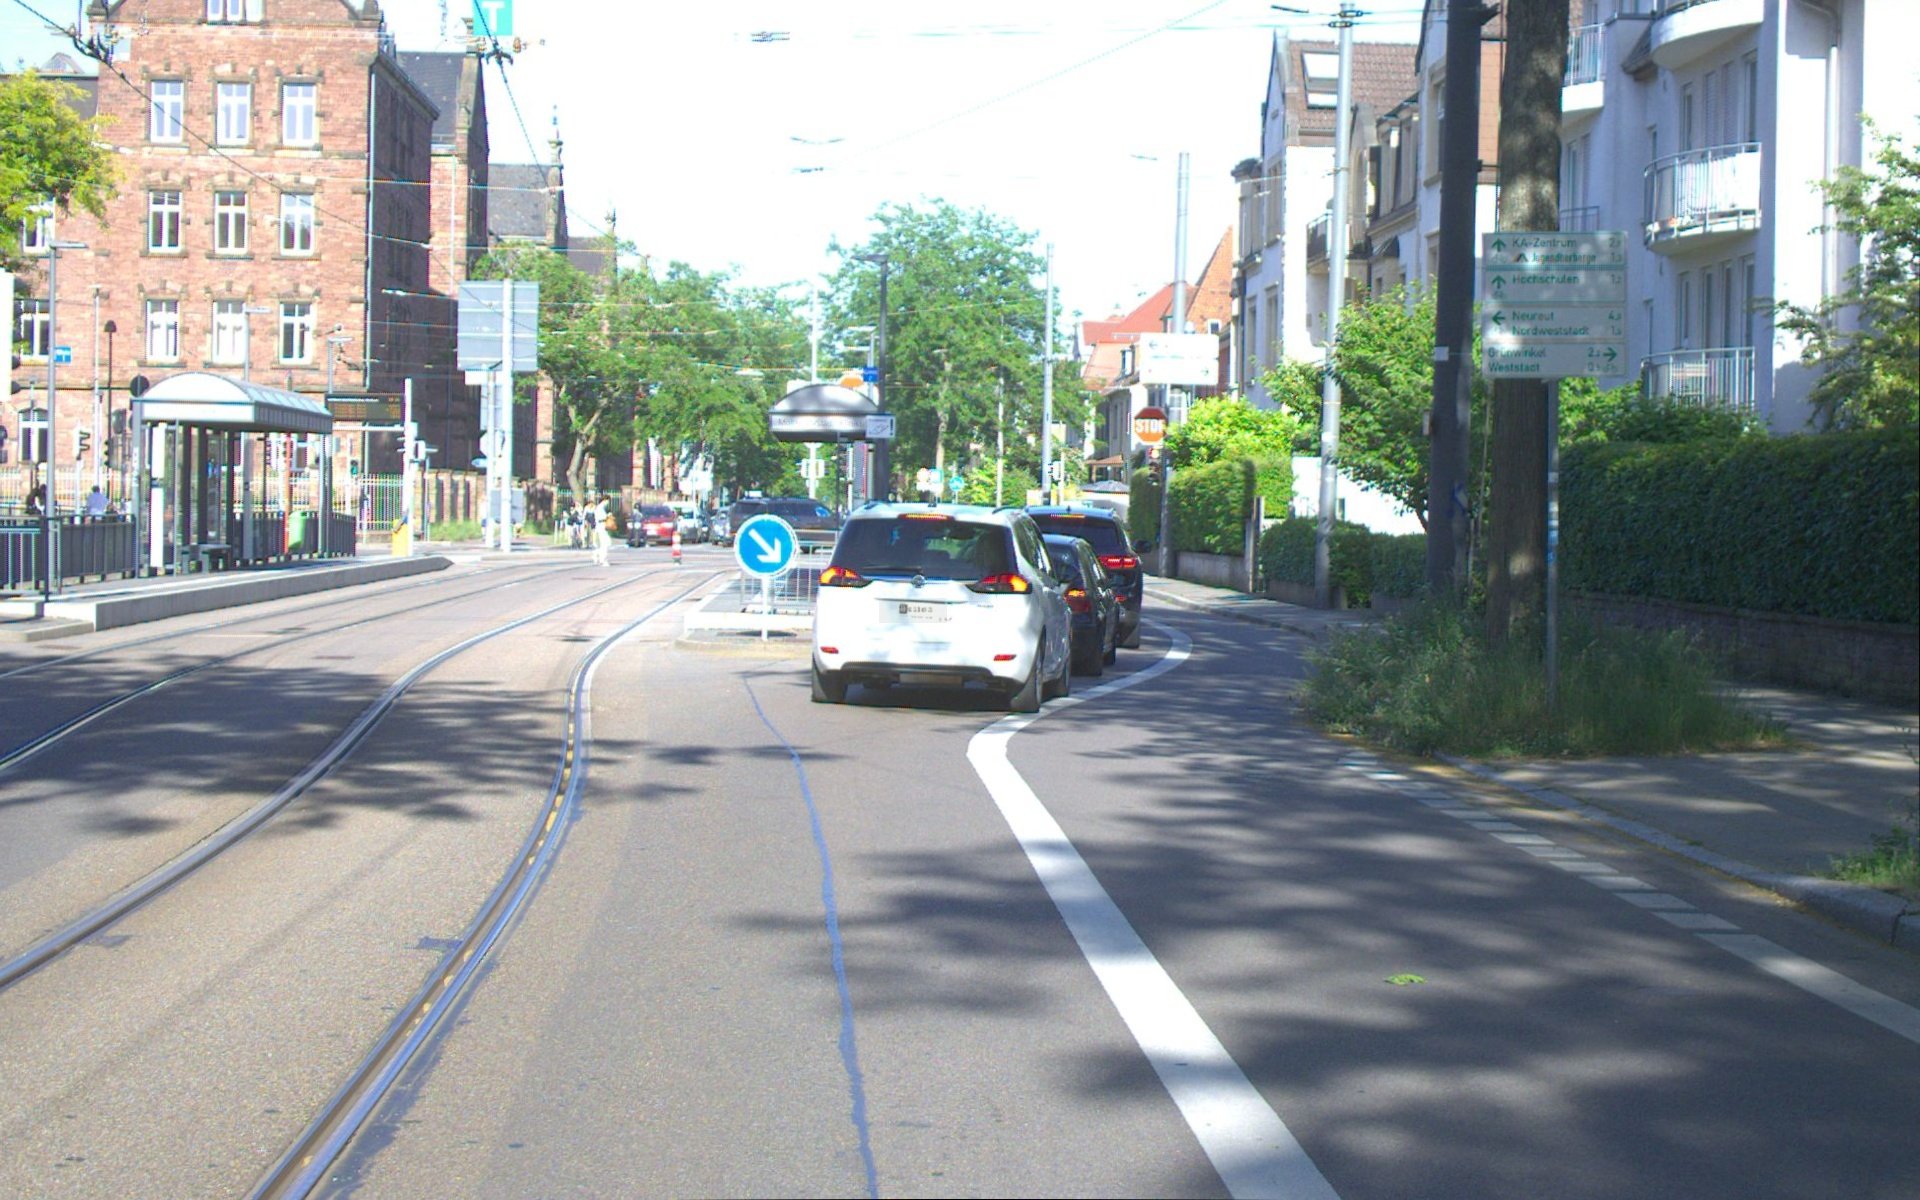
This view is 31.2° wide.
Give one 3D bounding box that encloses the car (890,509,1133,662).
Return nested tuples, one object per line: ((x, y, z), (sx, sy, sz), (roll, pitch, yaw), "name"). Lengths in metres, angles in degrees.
((0.592, -0.199, 35.211), (1.994, 1.437, 3.999), (1, 2, 8), "car")

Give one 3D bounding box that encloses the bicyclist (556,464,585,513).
((-14.031, -4.015, 123.967), (0.943, 1.728, 0.861), (1, 2, -2), "bicyclist")

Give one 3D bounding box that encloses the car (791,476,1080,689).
((-0.120, -0.134, 28.558), (1.893, 1.605, 4.228), (1, 0, 6), "car")

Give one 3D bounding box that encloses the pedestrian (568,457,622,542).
((-8.676, -2.399, 81.780), (1.155, 2.006, 1.120), (0, 2, 0), "pedestrian")

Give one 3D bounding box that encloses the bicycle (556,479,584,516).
((-14.038, -3.681, 123.688), (0.821, 1.292, 2.678), (1, 2, -3), "bicycle")

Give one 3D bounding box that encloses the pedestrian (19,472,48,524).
((-22.673, -2.503, 84.136), (0.558, 1.255, 0.530), (1, 2, -2), "pedestrian")

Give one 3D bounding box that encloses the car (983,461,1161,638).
((1.393, -0.635, 41.330), (1.709, 2.006, 3.905), (1, 2, 8), "car")

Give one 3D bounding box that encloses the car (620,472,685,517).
((-12.040, -4.147, 134.769), (1.994, 1.716, 4.000), (1, 2, 3), "car")
